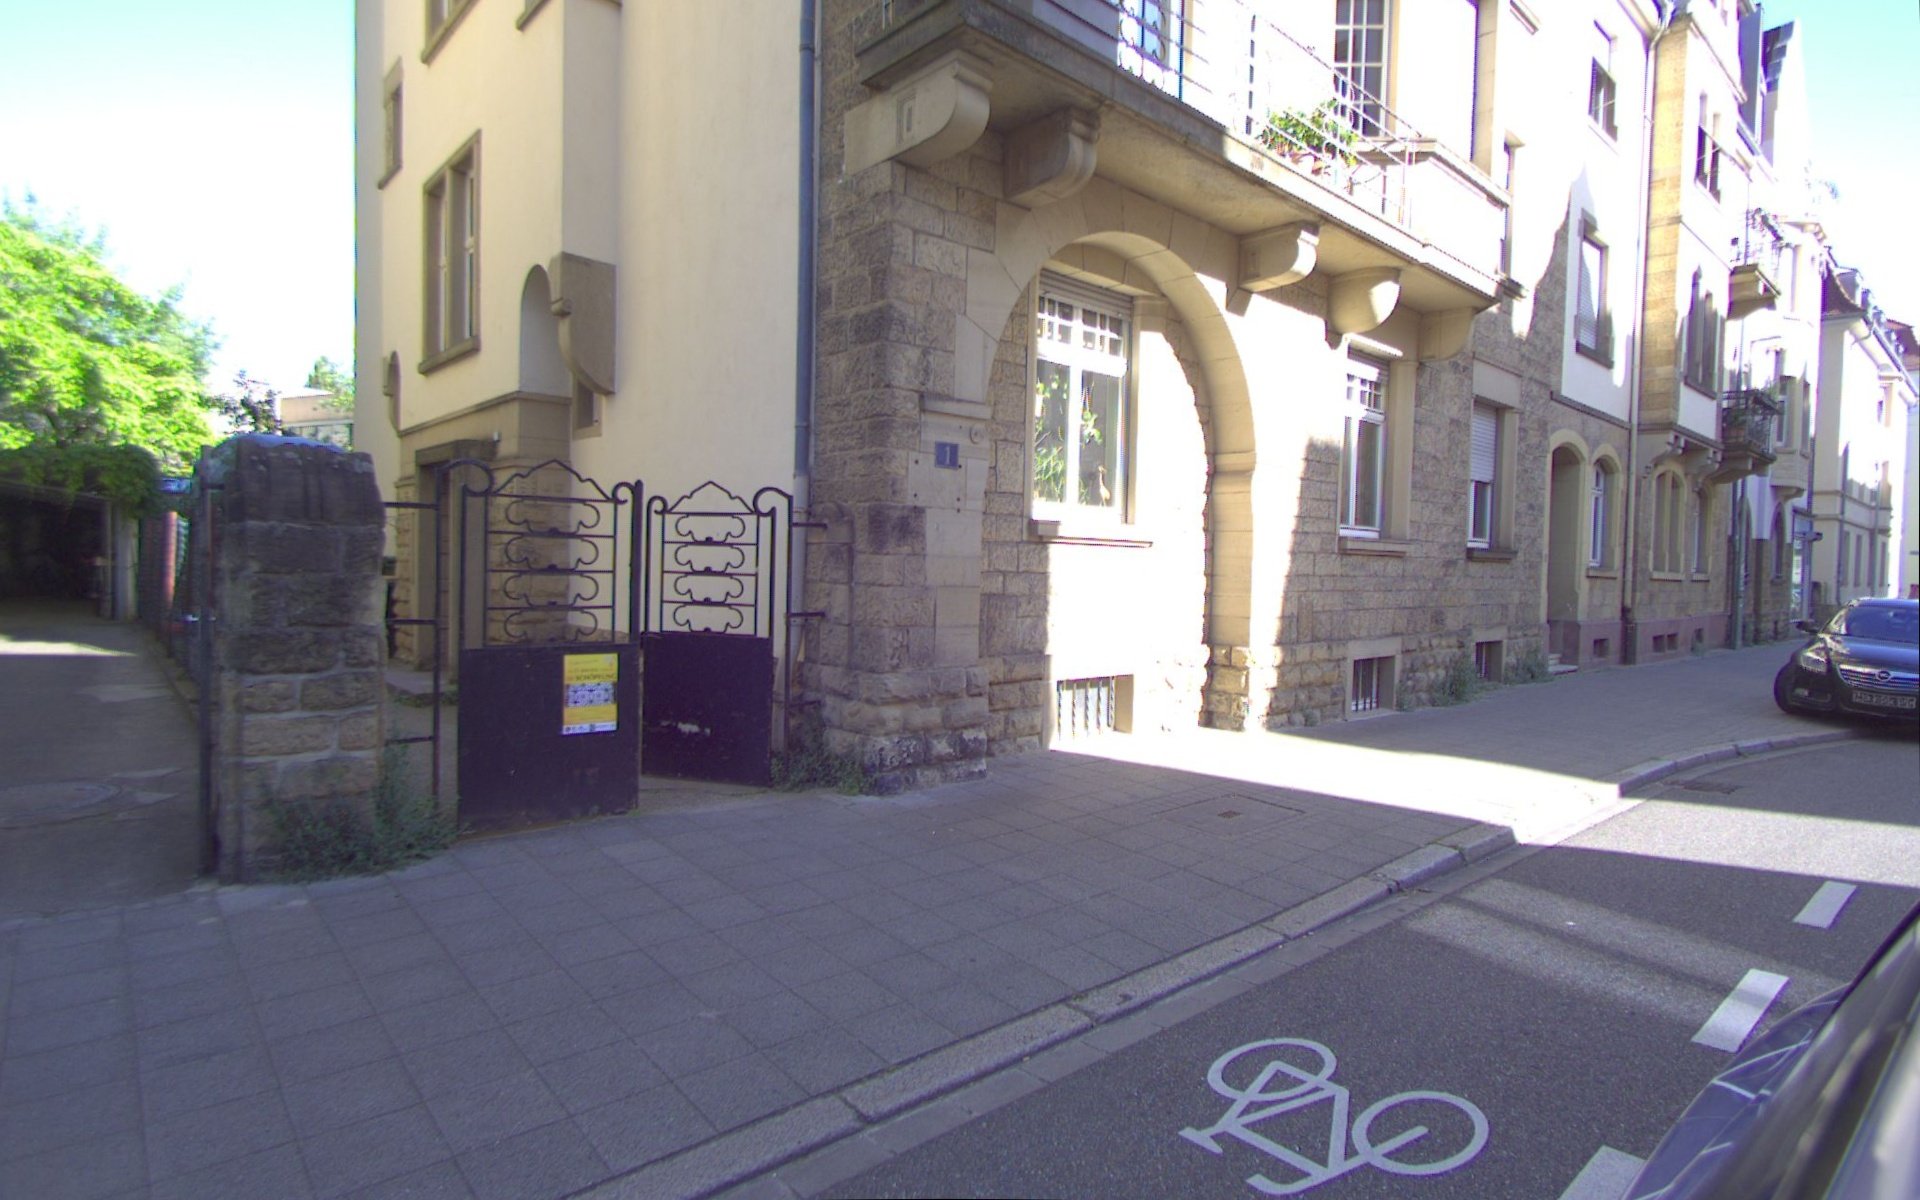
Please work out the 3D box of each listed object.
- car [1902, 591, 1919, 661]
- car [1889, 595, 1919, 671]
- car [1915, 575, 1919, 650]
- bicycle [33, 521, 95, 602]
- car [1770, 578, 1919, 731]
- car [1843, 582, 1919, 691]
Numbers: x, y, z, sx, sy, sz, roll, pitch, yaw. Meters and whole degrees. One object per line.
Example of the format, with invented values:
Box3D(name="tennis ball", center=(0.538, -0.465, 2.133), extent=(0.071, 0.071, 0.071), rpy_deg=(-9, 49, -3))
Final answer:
Box3D(name="car", center=(22.167, 0.581, 22.196), extent=(4.247, 1.440, 1.823), rpy_deg=(-1, 4, -42))
Box3D(name="car", center=(18.791, 0.618, 18.974), extent=(3.667, 1.295, 1.659), rpy_deg=(-1, 4, -42))
Box3D(name="car", center=(26.180, 0.337, 26.008), extent=(4.247, 1.860, 2.004), rpy_deg=(-1, 4, -42))
Box3D(name="bicycle", center=(-18.305, -0.815, 20.725), extent=(0.903, 1.530, 2.672), rpy_deg=(0, 4, -41))
Box3D(name="car", center=(11.474, 0.569, 12.163), extent=(4.043, 1.526, 2.023), rpy_deg=(-1, 5, -42))
Box3D(name="car", center=(15.528, 0.565, 15.870), extent=(4.247, 1.527, 2.004), rpy_deg=(0, 3, -42))
